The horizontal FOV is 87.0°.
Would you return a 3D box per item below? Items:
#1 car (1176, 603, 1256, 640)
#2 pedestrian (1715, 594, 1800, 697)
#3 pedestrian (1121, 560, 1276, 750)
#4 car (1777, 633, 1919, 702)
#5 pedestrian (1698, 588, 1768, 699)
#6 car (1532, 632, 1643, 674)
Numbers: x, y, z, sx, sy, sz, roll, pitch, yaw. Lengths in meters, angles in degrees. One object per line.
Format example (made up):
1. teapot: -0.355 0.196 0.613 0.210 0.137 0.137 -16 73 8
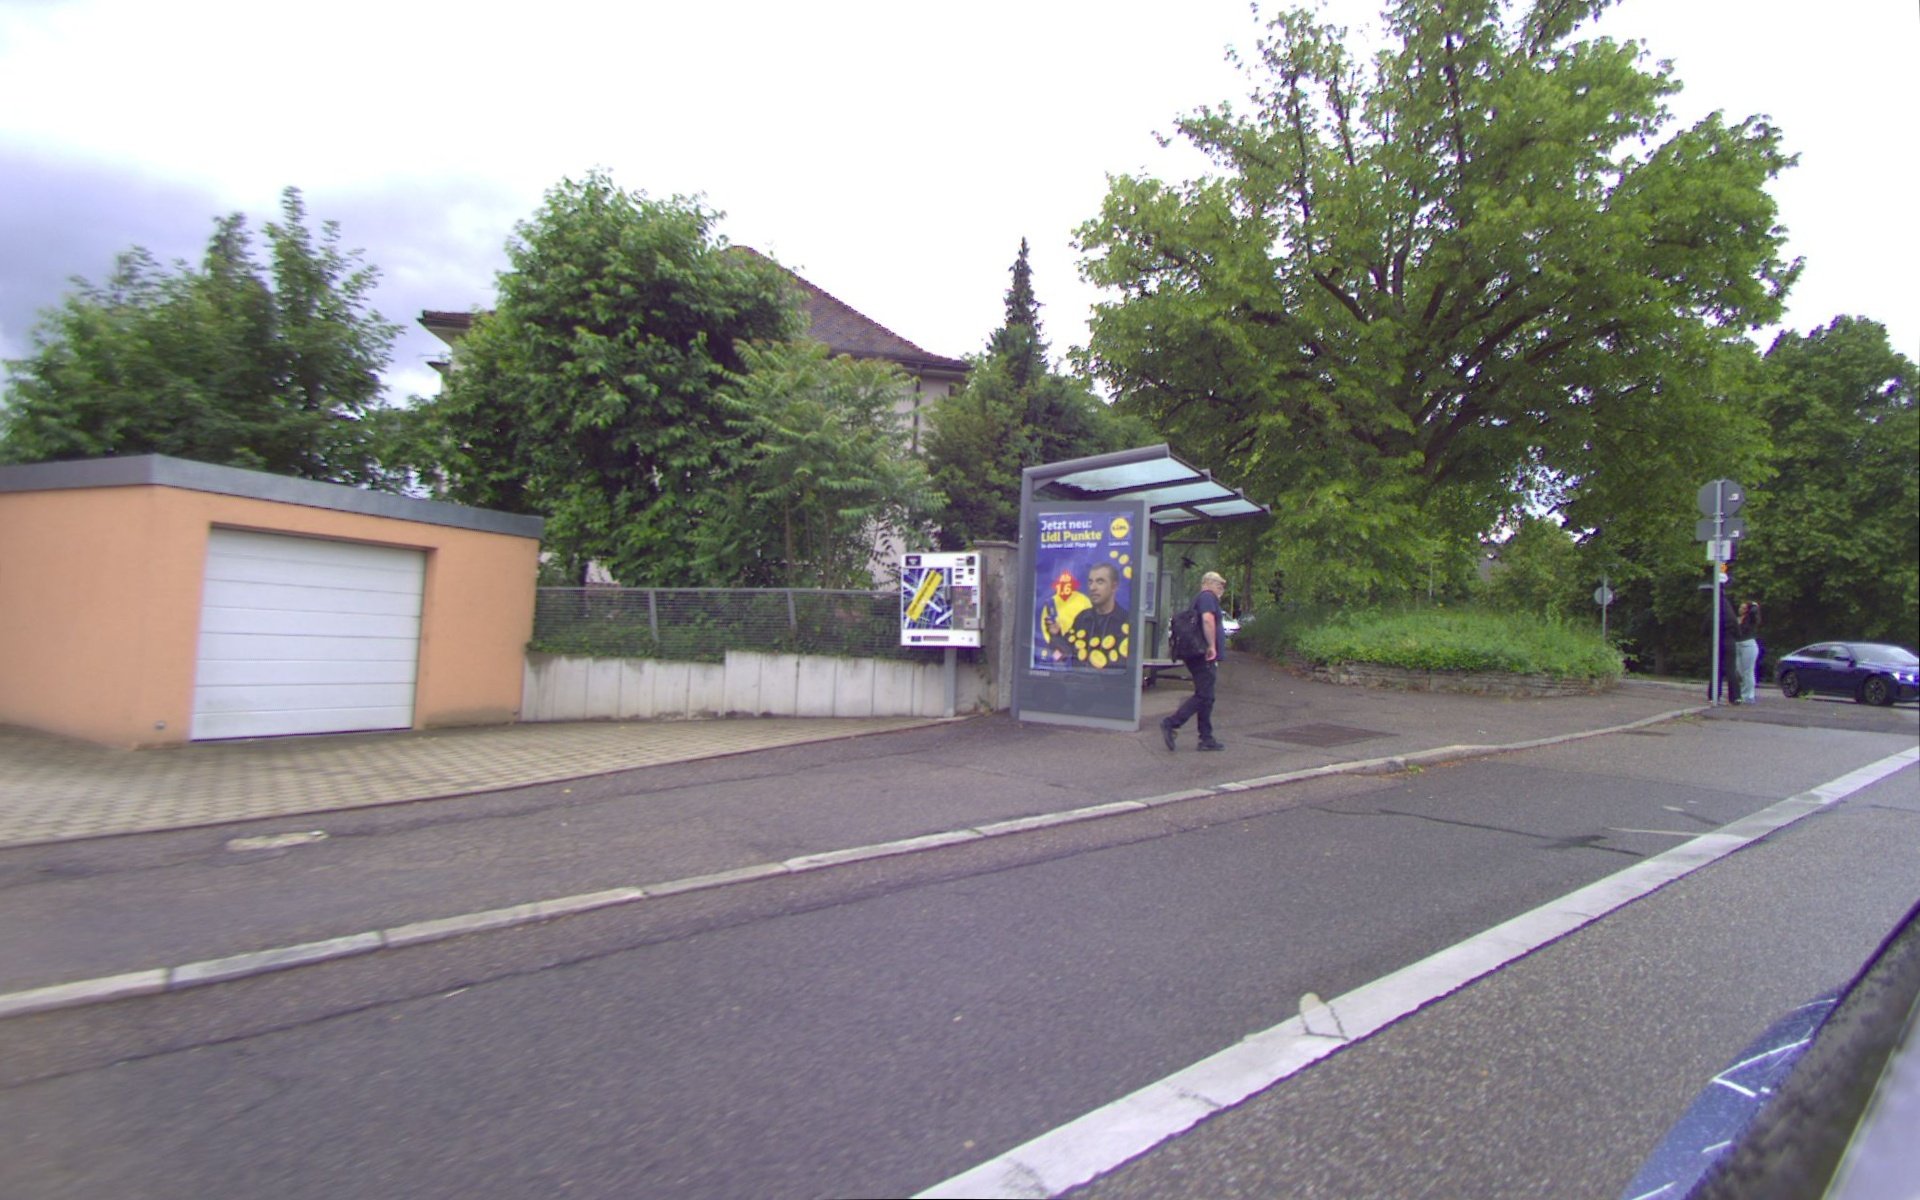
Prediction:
1. car: 10.726 0.902 42.727 1.826 1.433 4.389 2 -1 -6
2. pedestrian: 13.474 0.757 17.119 0.803 1.676 0.726 2 0 -2
3. pedestrian: 2.209 0.498 9.491 1.075 1.676 0.930 2 0 -11
4. car: 21.696 1.548 23.738 1.734 1.455 4.659 2 -1 8
5. pedestrian: 12.720 0.691 16.653 0.804 1.755 0.725 2 0 -40
6. car: 24.521 2.032 39.728 1.830 1.433 4.379 2 -1 4
